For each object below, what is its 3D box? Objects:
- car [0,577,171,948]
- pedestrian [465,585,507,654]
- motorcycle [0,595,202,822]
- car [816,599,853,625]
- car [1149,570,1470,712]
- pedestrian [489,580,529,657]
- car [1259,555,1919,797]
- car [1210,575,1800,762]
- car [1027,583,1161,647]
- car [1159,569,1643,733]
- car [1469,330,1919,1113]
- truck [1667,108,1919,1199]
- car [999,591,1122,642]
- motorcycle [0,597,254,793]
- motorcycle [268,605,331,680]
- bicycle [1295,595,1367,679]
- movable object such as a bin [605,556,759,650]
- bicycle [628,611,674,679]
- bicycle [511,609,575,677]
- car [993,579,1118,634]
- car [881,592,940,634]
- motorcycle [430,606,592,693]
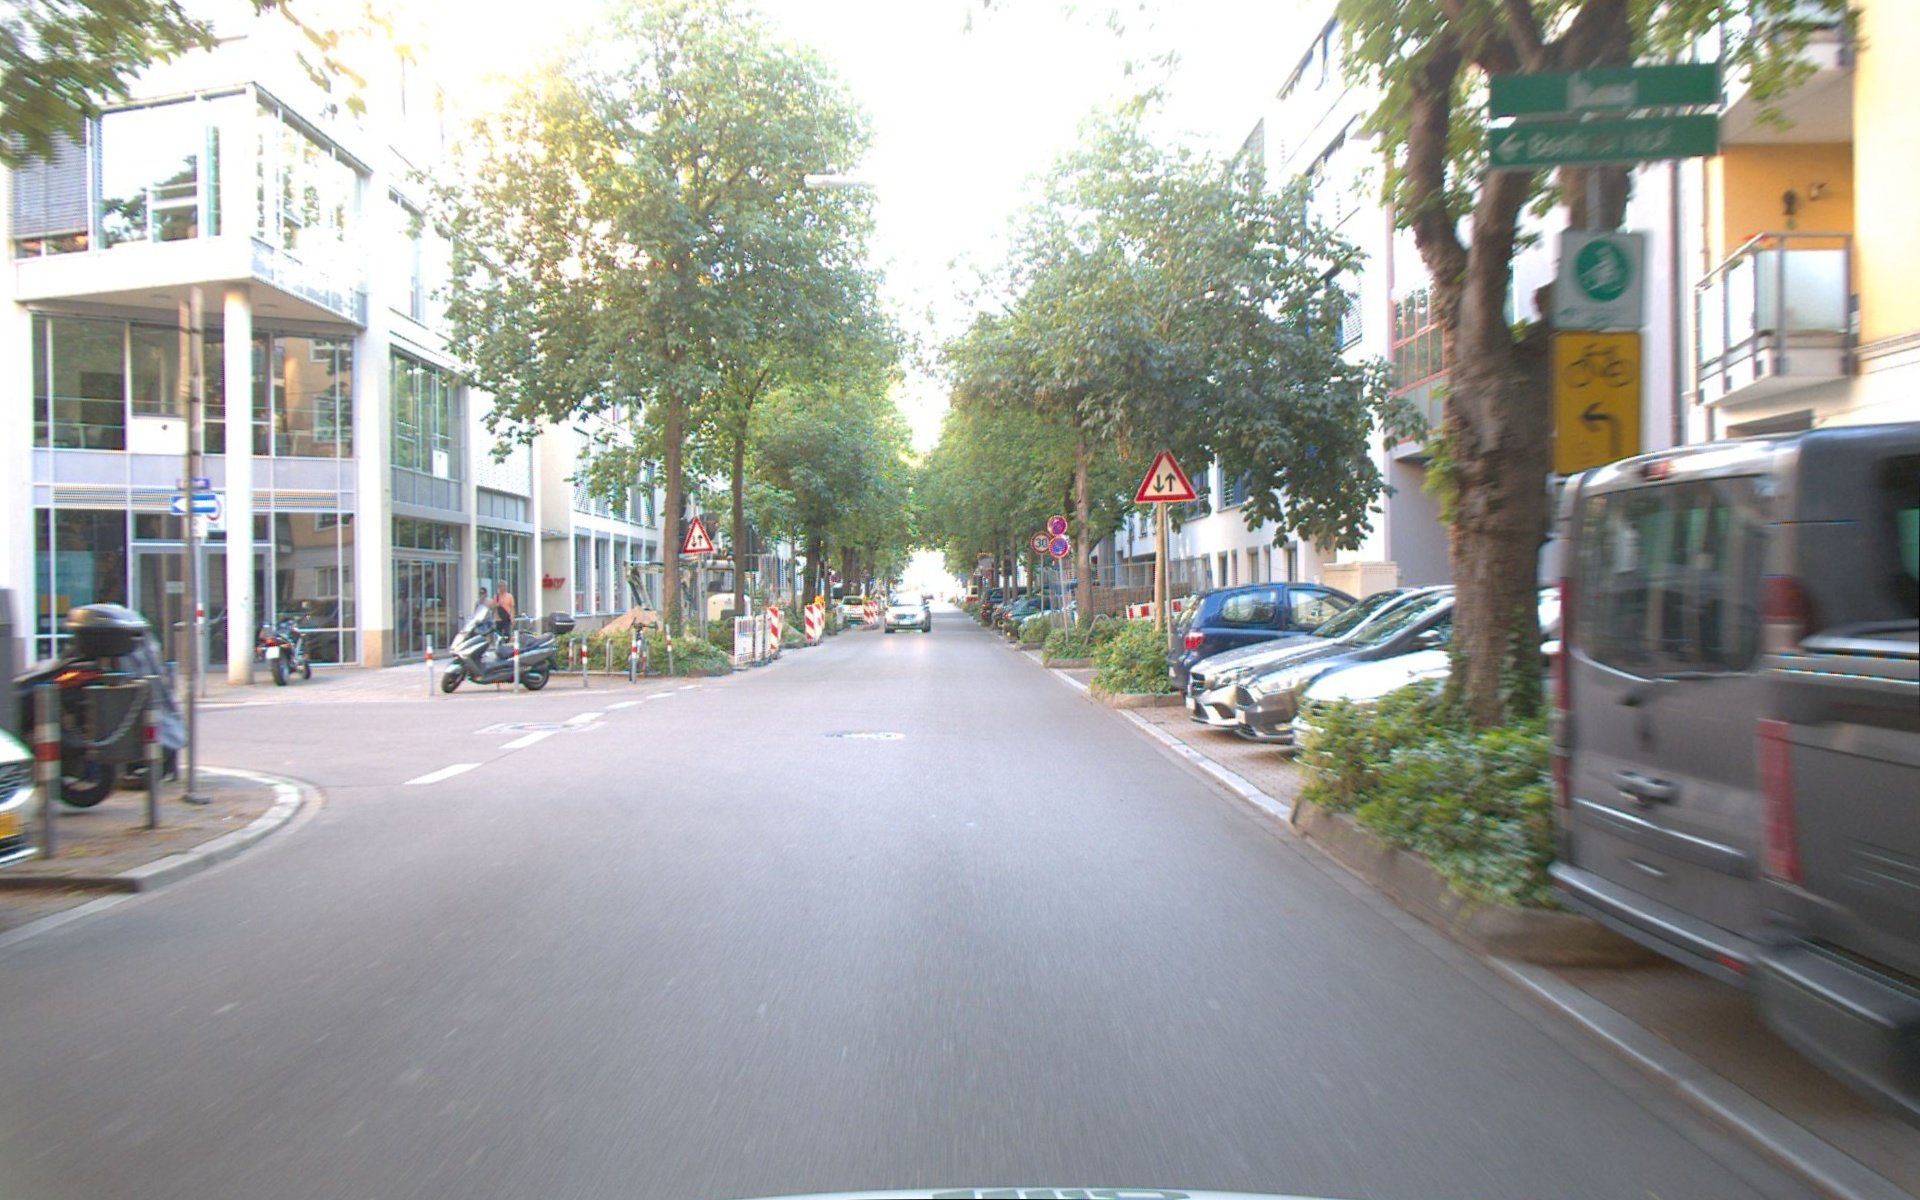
[{"bbox_3d":[-6.349,0.703,7.504,4.523,1.579,2.076,0,0,1],"label":"car"},{"bbox_3d":[-10.871,0.445,37.939,0.754,1.562,0.642,-1,0,-1],"label":"pedestrian"},{"bbox_3d":[-6.505,0.707,11.095,2.402,1.445,0.911,-1,0,1],"label":"motorcycle"},{"bbox_3d":[-6.877,0.629,90.085,1.955,1.310,3.996,-1,0,-5],"label":"car"},{"bbox_3d":[4.139,0.469,19.978,3.467,1.591,1.831,-1,0,-1],"label":"car"},{"bbox_3d":[-10.217,0.407,37.491,0.724,1.720,0.607,-1,0,0],"label":"pedestrian"},{"bbox_3d":[4.701,0.507,12.332,4.529,1.529,1.960,-2,0,-3],"label":"car"},{"bbox_3d":[4.742,0.573,14.935,4.684,1.547,1.991,0,0,0],"label":"car"},{"bbox_3d":[3.997,0.453,49.730,3.904,1.836,2.001,-1,0,3],"label":"car"},{"bbox_3d":[4.483,0.496,17.324,4.528,1.598,2.010,0,0,-2],"label":"car"},{"bbox_3d":[4.351,0.277,5.646,4.508,2.102,2.197,-1,0,-2],"label":"car"},{"bbox_3d":[4.600,0.268,2.908,5.767,2.351,2.212,-1,0,-1],"label":"truck"},{"bbox_3d":[3.259,0.522,54.294,3.905,1.612,2.000,-1,0,1],"label":"car"},{"bbox_3d":[-6.712,0.712,13.166,2.205,1.445,0.851,-1,0,30],"label":"motorcycle"},{"bbox_3d":[-11.426,0.711,28.668,0.546,1.192,2.302,-1,1,-10],"label":"motorcycle"},{"bbox_3d":[5.900,0.570,26.382,0.811,1.256,1.804,-1,0,3],"label":"bicycle"},{"bbox_3d":[-7.533,0.057,45.340,3.969,2.424,2.781,-1,1,-7],"label":"movable object such as a bin"},{"bbox_3d":[-5.748,0.815,30.844,0.670,1.173,1.978,-1,1,-6],"label":"bicycle"},{"bbox_3d":[-7.741,0.773,30.784,0.669,1.173,1.981,-1,1,0],"label":"bicycle"},{"bbox_3d":[3.626,0.235,63.297,4.643,2.049,1.999,0,0,-2],"label":"car"},{"bbox_3d":[-2.081,0.522,68.801,1.972,1.641,4.112,-1,1,-8],"label":"car"},{"bbox_3d":[-7.346,0.784,27.135,2.336,1.304,1.051,-1,1,-42],"label":"motorcycle"}]
